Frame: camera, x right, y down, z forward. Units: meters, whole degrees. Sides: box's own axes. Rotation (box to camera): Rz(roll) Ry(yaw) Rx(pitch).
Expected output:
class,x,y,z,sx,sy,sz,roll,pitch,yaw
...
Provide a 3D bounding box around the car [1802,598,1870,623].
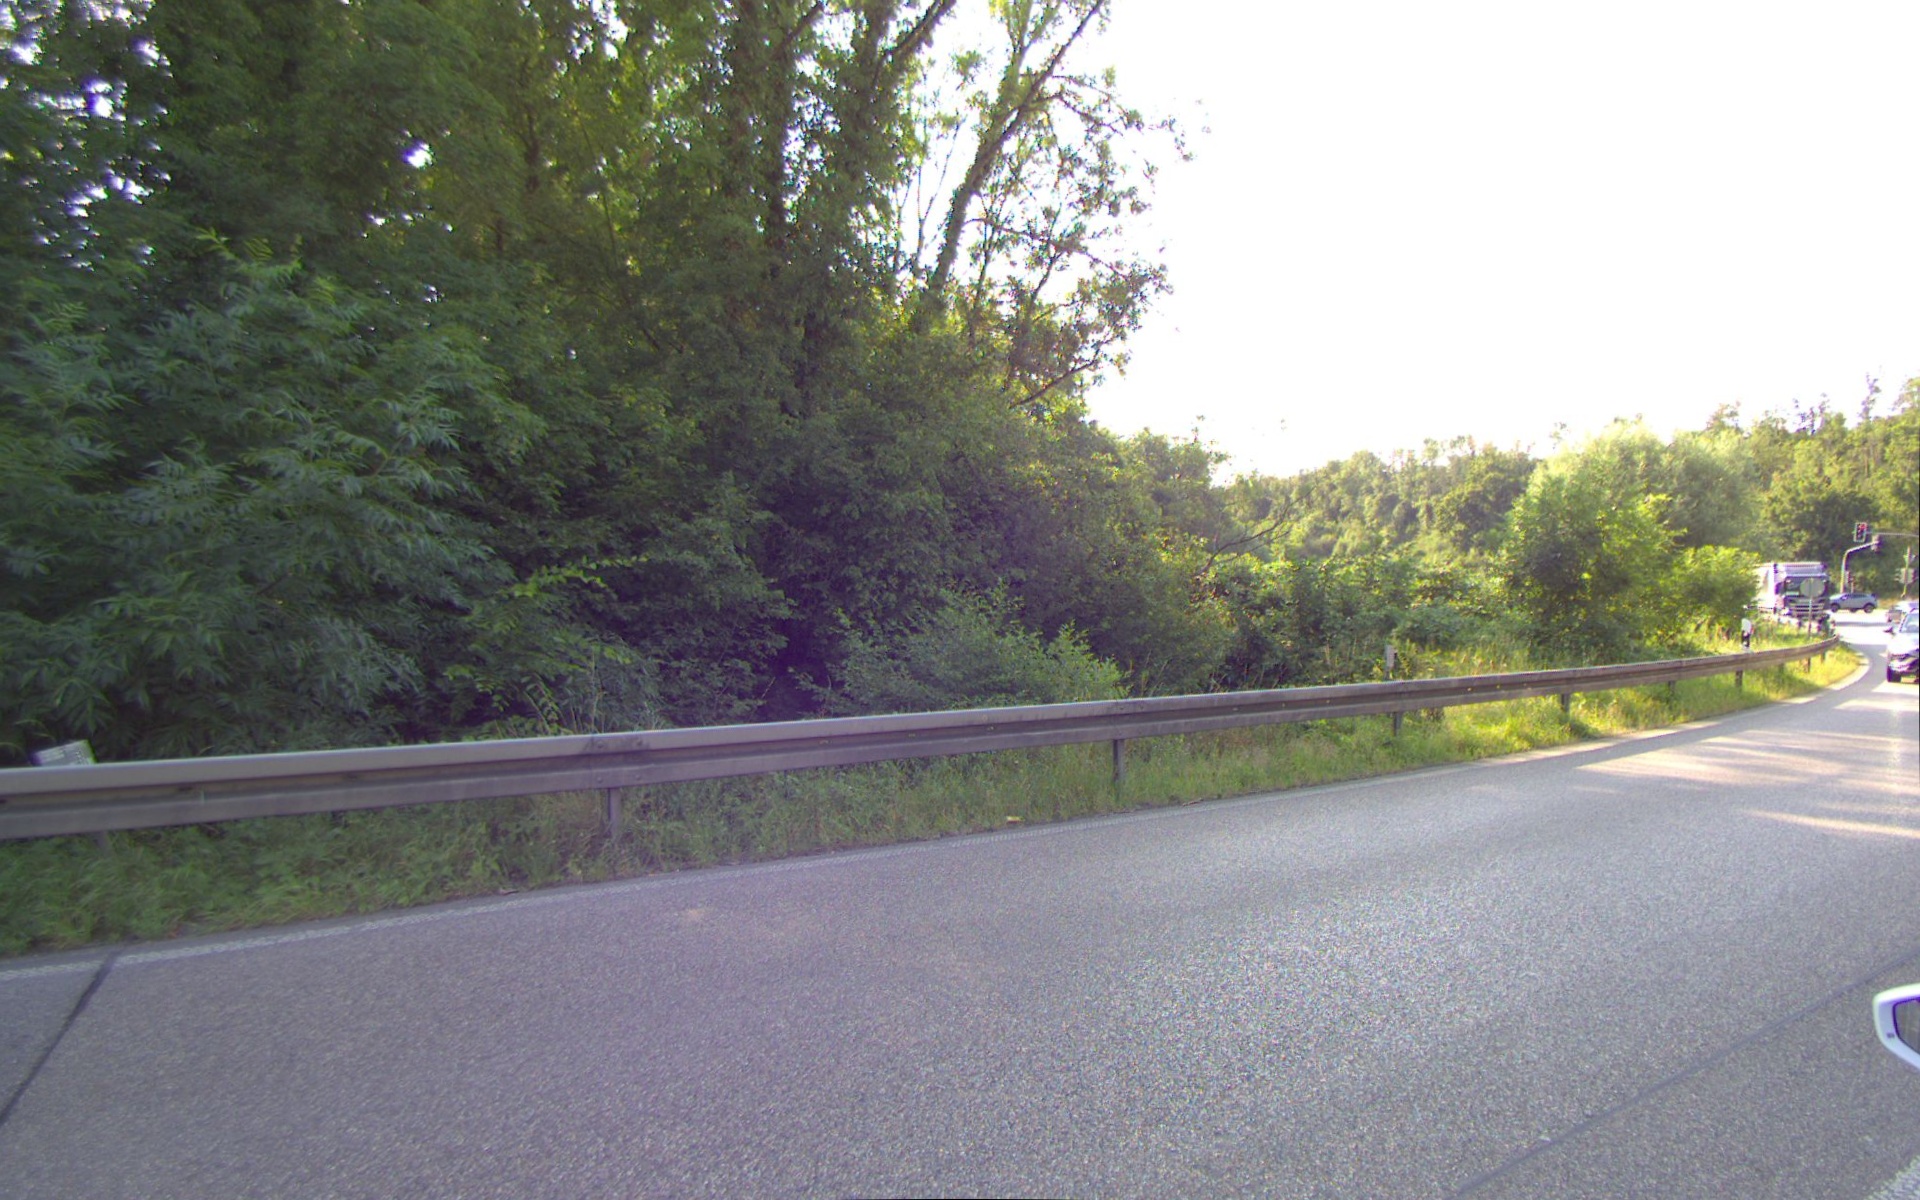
class,x,y,z,sx,sy,sz,roll,pitch,yaw
car,73.258,0.854,84.052,3.920,1.876,1.874,2,2,1

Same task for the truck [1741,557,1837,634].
class,x,y,z,sx,sy,sz,roll,pitch,yaw
truck,54.205,-0.277,65.987,2.968,4.646,10.222,2,0,30

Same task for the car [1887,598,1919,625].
class,x,y,z,sx,sy,sz,roll,pitch,yaw
car,60.370,0.727,63.395,1.841,1.586,3.991,3,2,31

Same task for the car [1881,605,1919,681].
class,x,y,z,sx,sy,sz,roll,pitch,yaw
car,21.951,0.921,22.450,1.849,1.586,3.974,0,0,45
